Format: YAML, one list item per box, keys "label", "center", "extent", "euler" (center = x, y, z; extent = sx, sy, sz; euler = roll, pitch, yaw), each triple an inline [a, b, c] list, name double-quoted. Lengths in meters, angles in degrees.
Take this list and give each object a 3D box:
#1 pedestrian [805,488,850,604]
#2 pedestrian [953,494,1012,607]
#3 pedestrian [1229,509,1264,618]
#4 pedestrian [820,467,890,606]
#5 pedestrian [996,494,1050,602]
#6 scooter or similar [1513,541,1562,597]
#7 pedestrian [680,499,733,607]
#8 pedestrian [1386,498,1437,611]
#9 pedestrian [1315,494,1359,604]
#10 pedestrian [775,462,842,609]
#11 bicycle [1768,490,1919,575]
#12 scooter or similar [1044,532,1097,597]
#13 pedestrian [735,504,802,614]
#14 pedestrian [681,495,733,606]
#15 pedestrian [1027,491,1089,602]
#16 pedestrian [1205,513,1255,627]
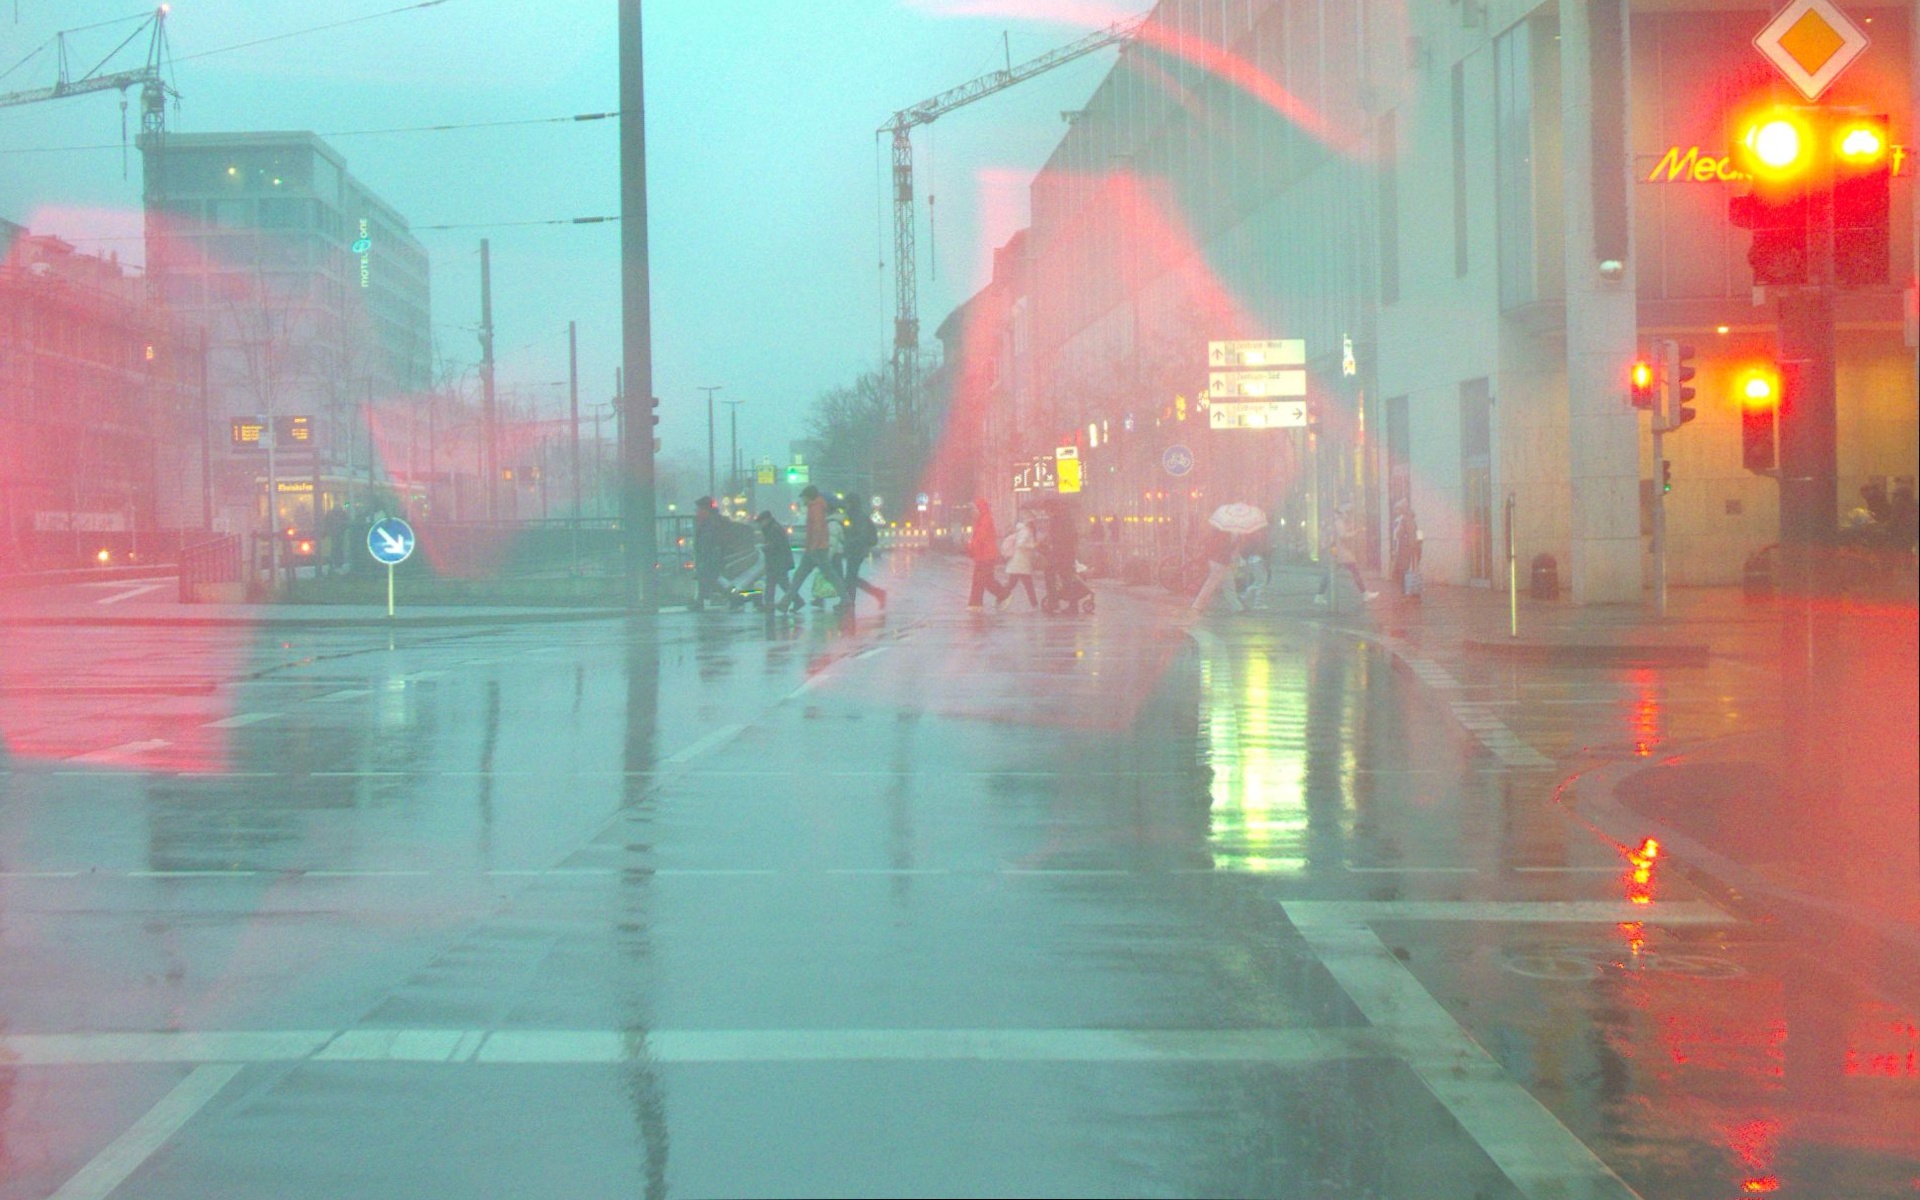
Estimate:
- label: "pedestrian"
  center: [-2.024, -0.825, 52.471]
  extent: [0.619, 1.740, 0.613]
  euler: [-1, 1, -5]
- label: "pedestrian"
  center: [0.333, -0.752, 51.874]
  extent: [0.831, 1.673, 0.619]
  euler: [-1, 1, -2]
- label: "pedestrian"
  center: [4.638, -0.592, 55.717]
  extent: [0.512, 1.754, 0.374]
  euler: [-1, 1, 0]
- label: "pedestrian"
  center: [-1.535, -0.936, 50.315]
  extent: [0.775, 2.007, 0.613]
  euler: [-2, 2, -38]
- label: "pedestrian"
  center: [0.983, -0.816, 53.652]
  extent: [0.741, 1.661, 0.400]
  euler: [-1, 1, 12]
- label: "scooter or similar"
  center: [9.553, -0.516, 56.892]
  extent: [0.741, 0.913, 0.400]
  euler: [-1, 1, 2]
- label: "pedestrian"
  center: [-3.847, -0.712, 52.193]
  extent: [0.706, 1.613, 0.680]
  euler: [-1, 1, 2]
- label: "pedestrian"
  center: [7.145, -0.724, 54.449]
  extent: [0.703, 1.754, 0.652]
  euler: [-1, 1, 0]
- label: "pedestrian"
  center: [6.078, -0.818, 55.454]
  extent: [0.617, 1.754, 0.482]
  euler: [-1, 1, 0]
- label: "pedestrian"
  center: [-2.170, -0.926, 49.307]
  extent: [0.686, 2.080, 0.613]
  euler: [-2, 2, -40]
- label: "bicycle"
  center: [14.350, -1.096, 55.598]
  extent: [2.425, 1.324, 0.635]
  euler: [-1, 2, -5]
- label: "scooter or similar"
  center: [1.717, -0.555, 53.497]
  extent: [0.741, 0.990, 0.400]
  euler: [-1, 1, 12]
- label: "pedestrian"
  center: [-2.836, -0.602, 50.963]
  extent: [0.817, 1.613, 0.538]
  euler: [0, 2, 38]
- label: "pedestrian"
  center: [-3.735, -0.734, 50.728]
  extent: [0.706, 1.613, 0.613]
  euler: [-1, 1, -2]
- label: "pedestrian"
  center: [1.507, -0.831, 52.881]
  extent: [0.843, 1.682, 0.677]
  euler: [-1, 1, -6]
- label: "pedestrian"
  center: [4.222, -0.477, 53.726]
  extent: [0.702, 1.754, 0.667]
  euler: [-1, 1, 0]
